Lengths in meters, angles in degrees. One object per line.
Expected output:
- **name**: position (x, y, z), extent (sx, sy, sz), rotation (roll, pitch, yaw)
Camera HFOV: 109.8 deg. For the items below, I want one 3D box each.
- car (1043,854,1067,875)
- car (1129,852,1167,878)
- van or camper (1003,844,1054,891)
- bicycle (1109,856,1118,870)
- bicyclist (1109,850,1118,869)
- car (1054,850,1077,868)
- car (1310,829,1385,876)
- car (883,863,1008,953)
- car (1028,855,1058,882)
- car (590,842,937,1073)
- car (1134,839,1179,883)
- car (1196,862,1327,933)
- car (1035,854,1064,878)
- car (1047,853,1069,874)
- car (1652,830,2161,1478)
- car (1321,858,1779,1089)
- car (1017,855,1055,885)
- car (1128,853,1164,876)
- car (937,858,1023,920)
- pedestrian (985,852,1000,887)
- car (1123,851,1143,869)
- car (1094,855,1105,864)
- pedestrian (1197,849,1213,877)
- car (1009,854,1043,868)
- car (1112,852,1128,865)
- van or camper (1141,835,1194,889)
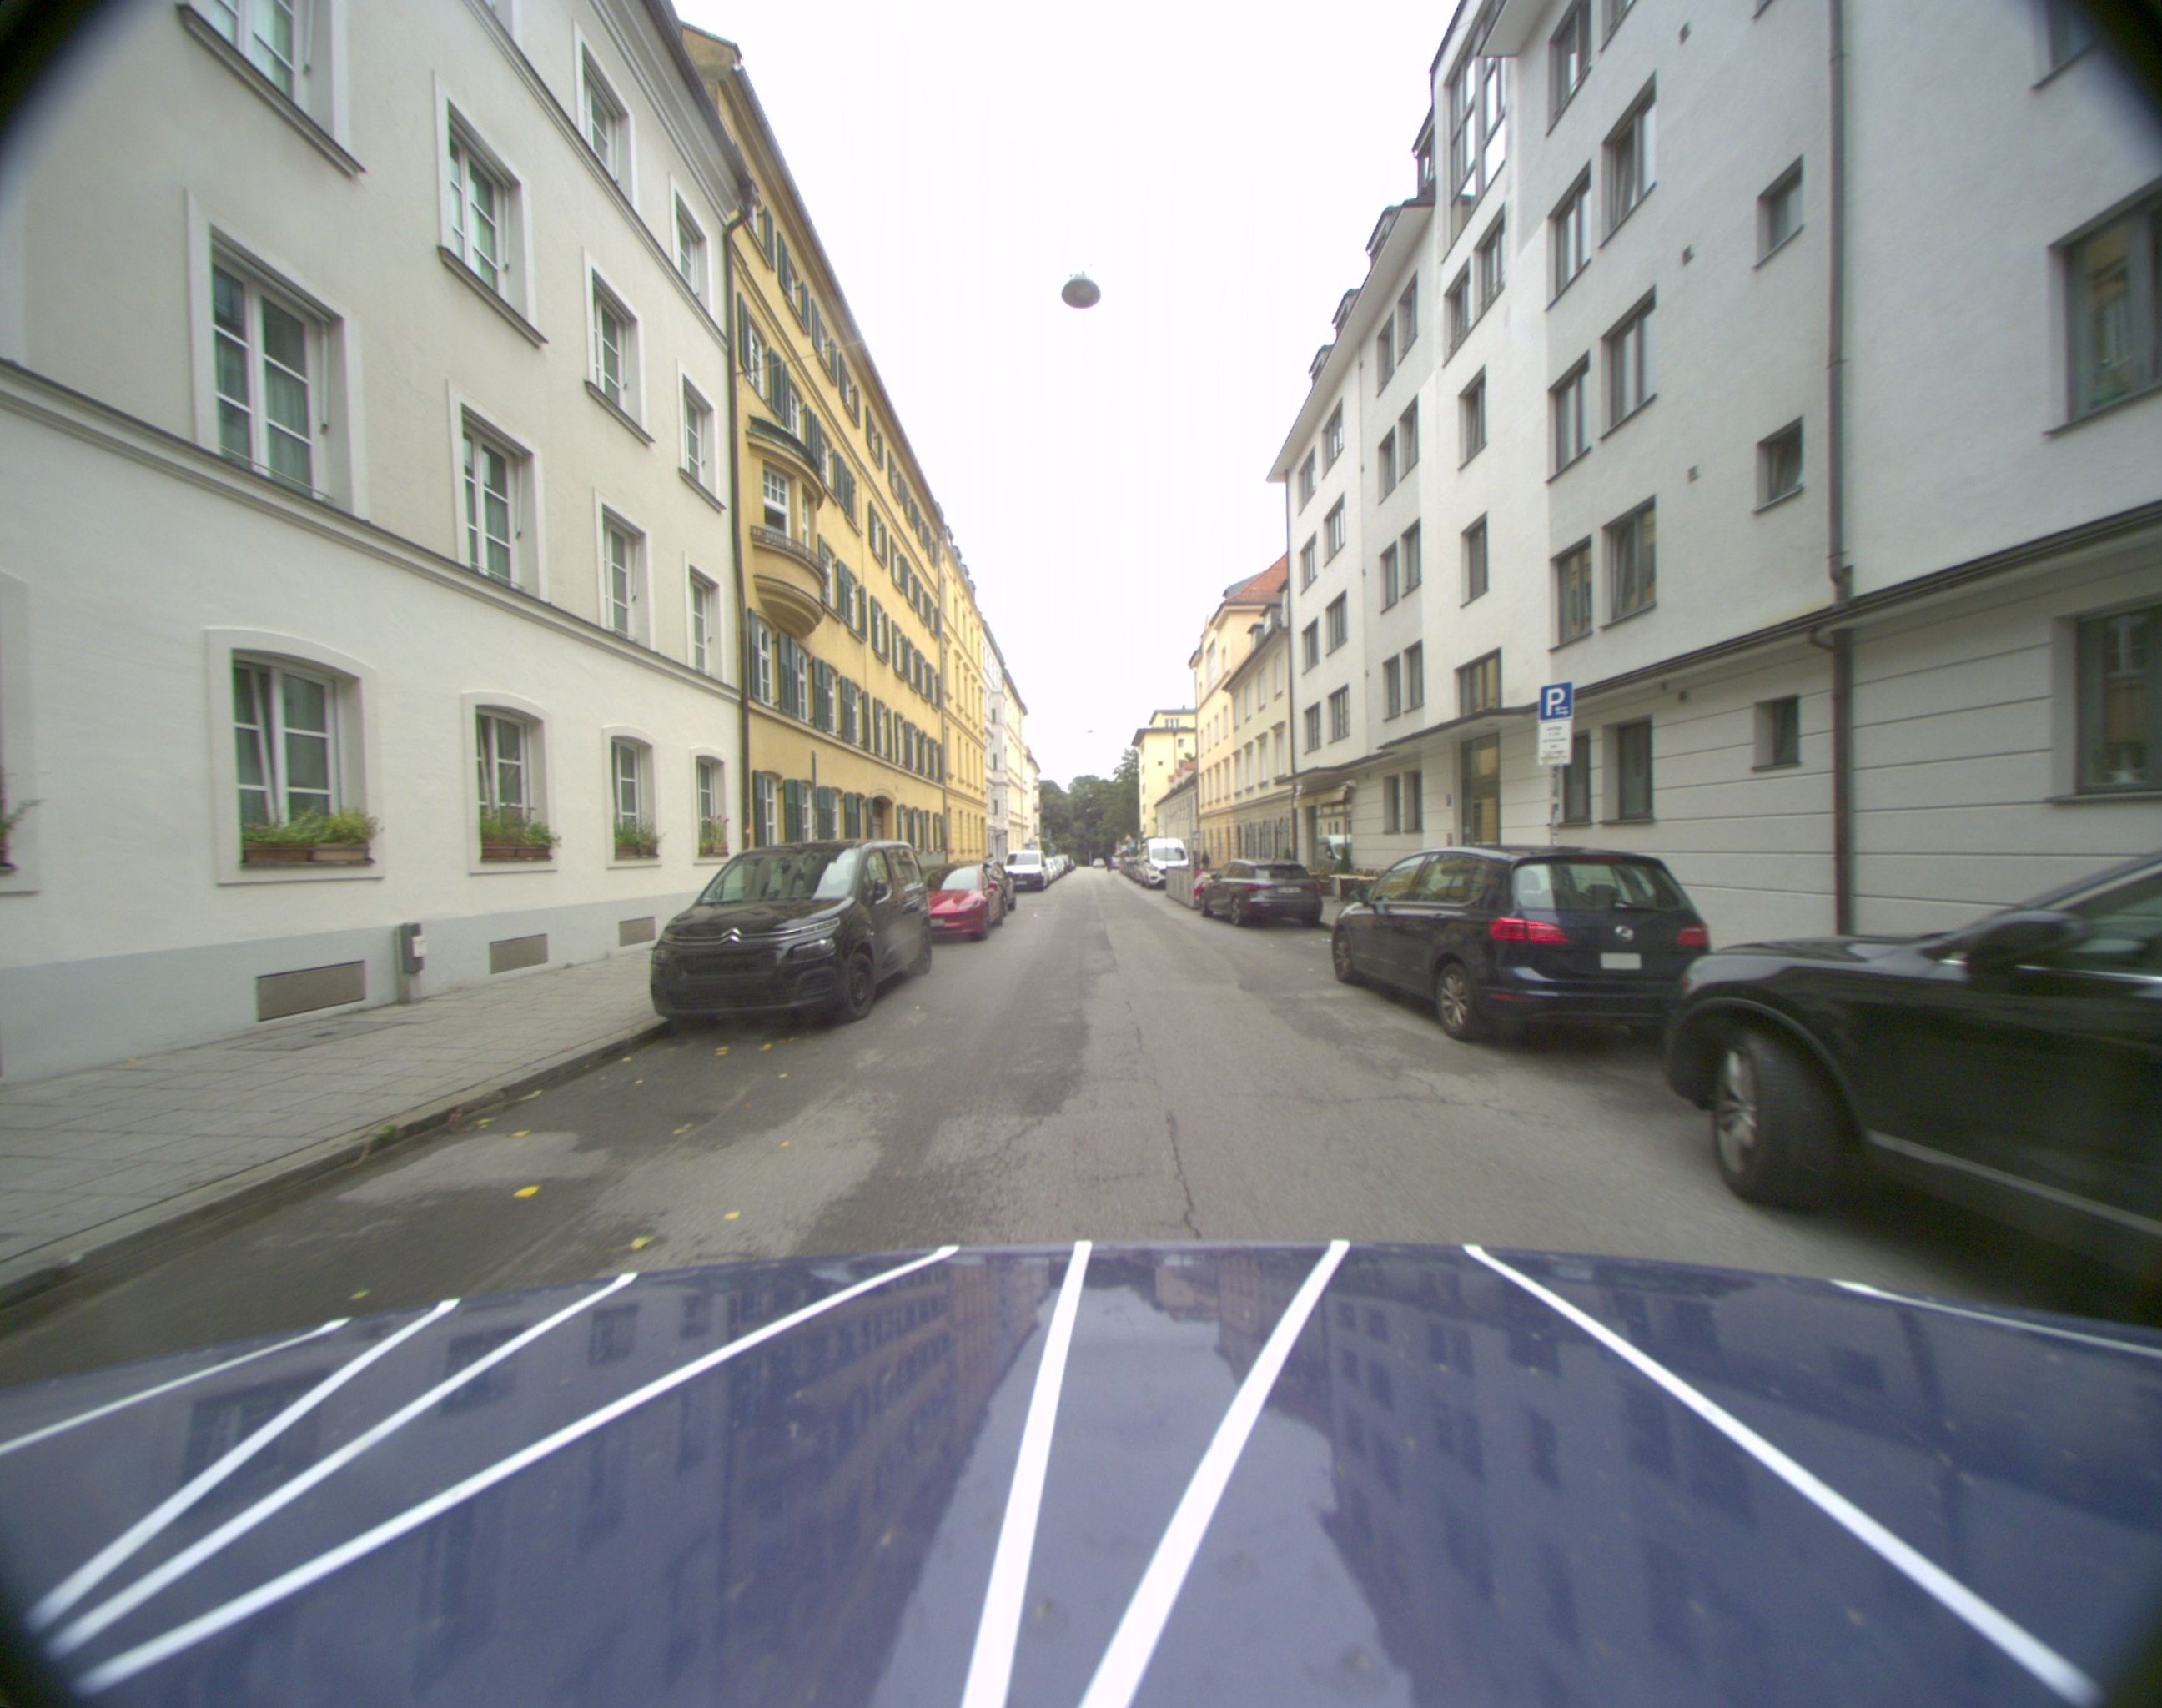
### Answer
- **car**: position (-1.953, 0.785, 58.039), extent (1.721, 1.501, 3.936), rotation (-1, 0, 0)
- **car**: position (4.047, 0.642, 46.378), extent (1.862, 1.393, 4.268), rotation (-2, 0, -1)
- **van or camper**: position (-2.411, 0.586, 35.981), extent (1.998, 2.002, 5.232), rotation (-1, 0, 0)
- **bicycle**: position (2.847, 0.793, 66.921), extent (0.734, 1.144, 1.999), rotation (-2, 0, 0)
- **bicyclist**: position (2.848, 0.505, 66.849), extent (0.688, 1.618, 0.853), rotation (-2, 1, 0)
- **car**: position (-1.605, 0.488, 80.497), extent (1.998, 1.850, 5.114), rotation (-1, 0, 2)
- **car**: position (12.292, -0.087, 35.417), extent (1.998, 2.002, 4.400), rotation (-3, 1, 2)
- **car**: position (-2.546, 0.958, 15.343), extent (1.718, 1.415, 4.457), rotation (-1, 1, 0)
- **car**: position (-2.244, 0.849, 45.646), extent (1.627, 1.501, 3.761), rotation (-1, 0, 0)
- **car**: position (-2.974, 0.814, 8.273), extent (1.851, 1.766, 4.200), rotation (-4, 1, 1)
- **car**: position (4.002, 0.353, 40.987), extent (1.862, 2.188, 4.560), rotation (-2, 0, -1)
- **car**: position (3.911, 0.887, 17.136), extent (1.644, 1.346, 4.056), rotation (0, 0, -6)
- **car**: position (-2.128, 0.795, 52.181), extent (1.721, 1.501, 4.469), rotation (-1, 0, 1)
- **car**: position (-1.933, 0.783, 64.303), extent (1.721, 1.592, 4.322), rotation (-3, 1, -1)
- **car**: position (3.733, 0.777, 1.462), extent (1.877, 1.678, 4.520), rotation (0, 0, 0)
- **car**: position (3.810, 0.820, 7.188), extent (1.778, 1.530, 4.159), rotation (0, 0, 0)
- **car**: position (-2.363, 0.820, 40.968), extent (1.820, 1.501, 4.586), rotation (-1, 0, -1)
- **car**: position (4.317, 0.658, 51.171), extent (1.862, 1.393, 4.268), rotation (-2, 0, -2)
- **car**: position (-2.670, 0.890, 20.998), extent (1.750, 1.455, 4.000), rotation (-1, 0, 1)
- **pedestrian**: position (-4.318, 0.744, 37.026), extent (0.598, 1.629, 0.896), rotation (2, 0, -1)
- **car**: position (4.653, 0.542, 67.799), extent (1.573, 1.505, 3.423), rotation (-2, 0, 1)
- **car**: position (2.957, 0.898, 121.531), extent (1.793, 1.409, 3.905), rotation (0, 0, 0)
- **pedestrian**: position (7.568, 0.547, 46.514), extent (0.807, 1.702, 1.021), rotation (-1, 0, 2)
- **car**: position (-6.586, 0.842, 90.813), extent (3.998, 1.556, 1.712), rotation (-1, 1, -2)
- **car**: position (4.750, 0.508, 92.658), extent (1.711, 1.491, 4.000), rotation (-1, 0, 0)
- **van or camper**: position (4.003, 0.319, 35.837), extent (1.998, 2.298, 5.478), rotation (-3, 1, 2)
